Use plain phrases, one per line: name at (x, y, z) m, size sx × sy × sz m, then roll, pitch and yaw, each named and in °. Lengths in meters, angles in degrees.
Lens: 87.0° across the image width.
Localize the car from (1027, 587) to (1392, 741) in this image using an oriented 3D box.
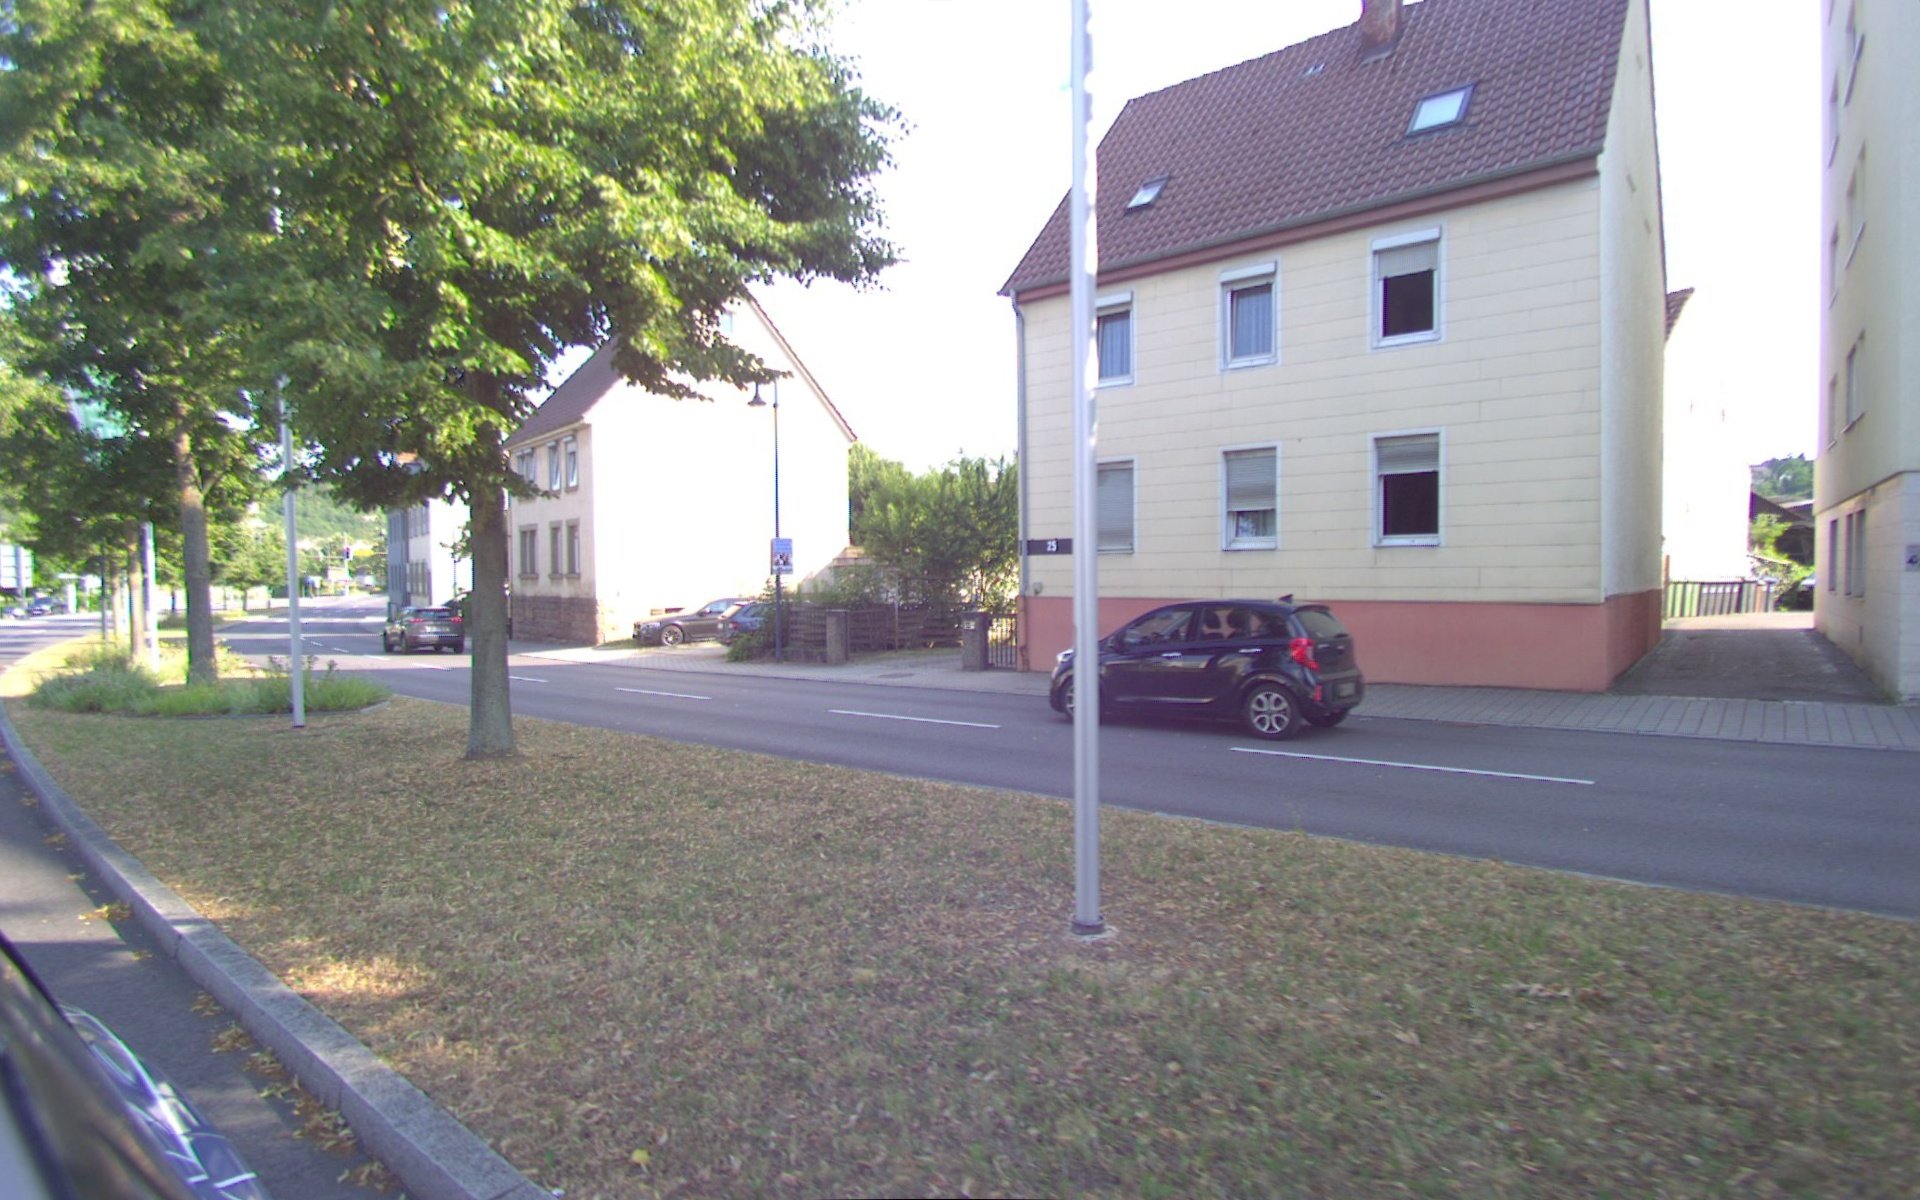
car at (2.764, 0.639, 11.650) m, size 3.781 × 1.497 × 1.589 m, roll -1°, pitch 0°, yaw 40°

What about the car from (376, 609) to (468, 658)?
car at (-17.766, 1.056, 33.311) m, size 1.915 × 1.497 × 4.333 m, roll 0°, pitch 0°, yaw -38°

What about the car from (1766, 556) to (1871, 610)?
car at (27.975, -0.549, 32.932) m, size 3.934 × 1.630 × 1.677 m, roll -1°, pitch 0°, yaw -36°

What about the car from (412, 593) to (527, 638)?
car at (-24.010, 0.724, 49.600) m, size 4.760 × 1.891 × 2.005 m, roll -4°, pitch 2°, yaw -34°

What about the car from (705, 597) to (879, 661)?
car at (-4.613, 0.751, 27.880) m, size 4.286 × 1.497 × 1.952 m, roll -2°, pitch 1°, yaw -29°

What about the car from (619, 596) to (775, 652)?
car at (-8.201, 0.708, 31.617) m, size 4.286 × 1.497 × 2.018 m, roll -2°, pitch 1°, yaw -30°
